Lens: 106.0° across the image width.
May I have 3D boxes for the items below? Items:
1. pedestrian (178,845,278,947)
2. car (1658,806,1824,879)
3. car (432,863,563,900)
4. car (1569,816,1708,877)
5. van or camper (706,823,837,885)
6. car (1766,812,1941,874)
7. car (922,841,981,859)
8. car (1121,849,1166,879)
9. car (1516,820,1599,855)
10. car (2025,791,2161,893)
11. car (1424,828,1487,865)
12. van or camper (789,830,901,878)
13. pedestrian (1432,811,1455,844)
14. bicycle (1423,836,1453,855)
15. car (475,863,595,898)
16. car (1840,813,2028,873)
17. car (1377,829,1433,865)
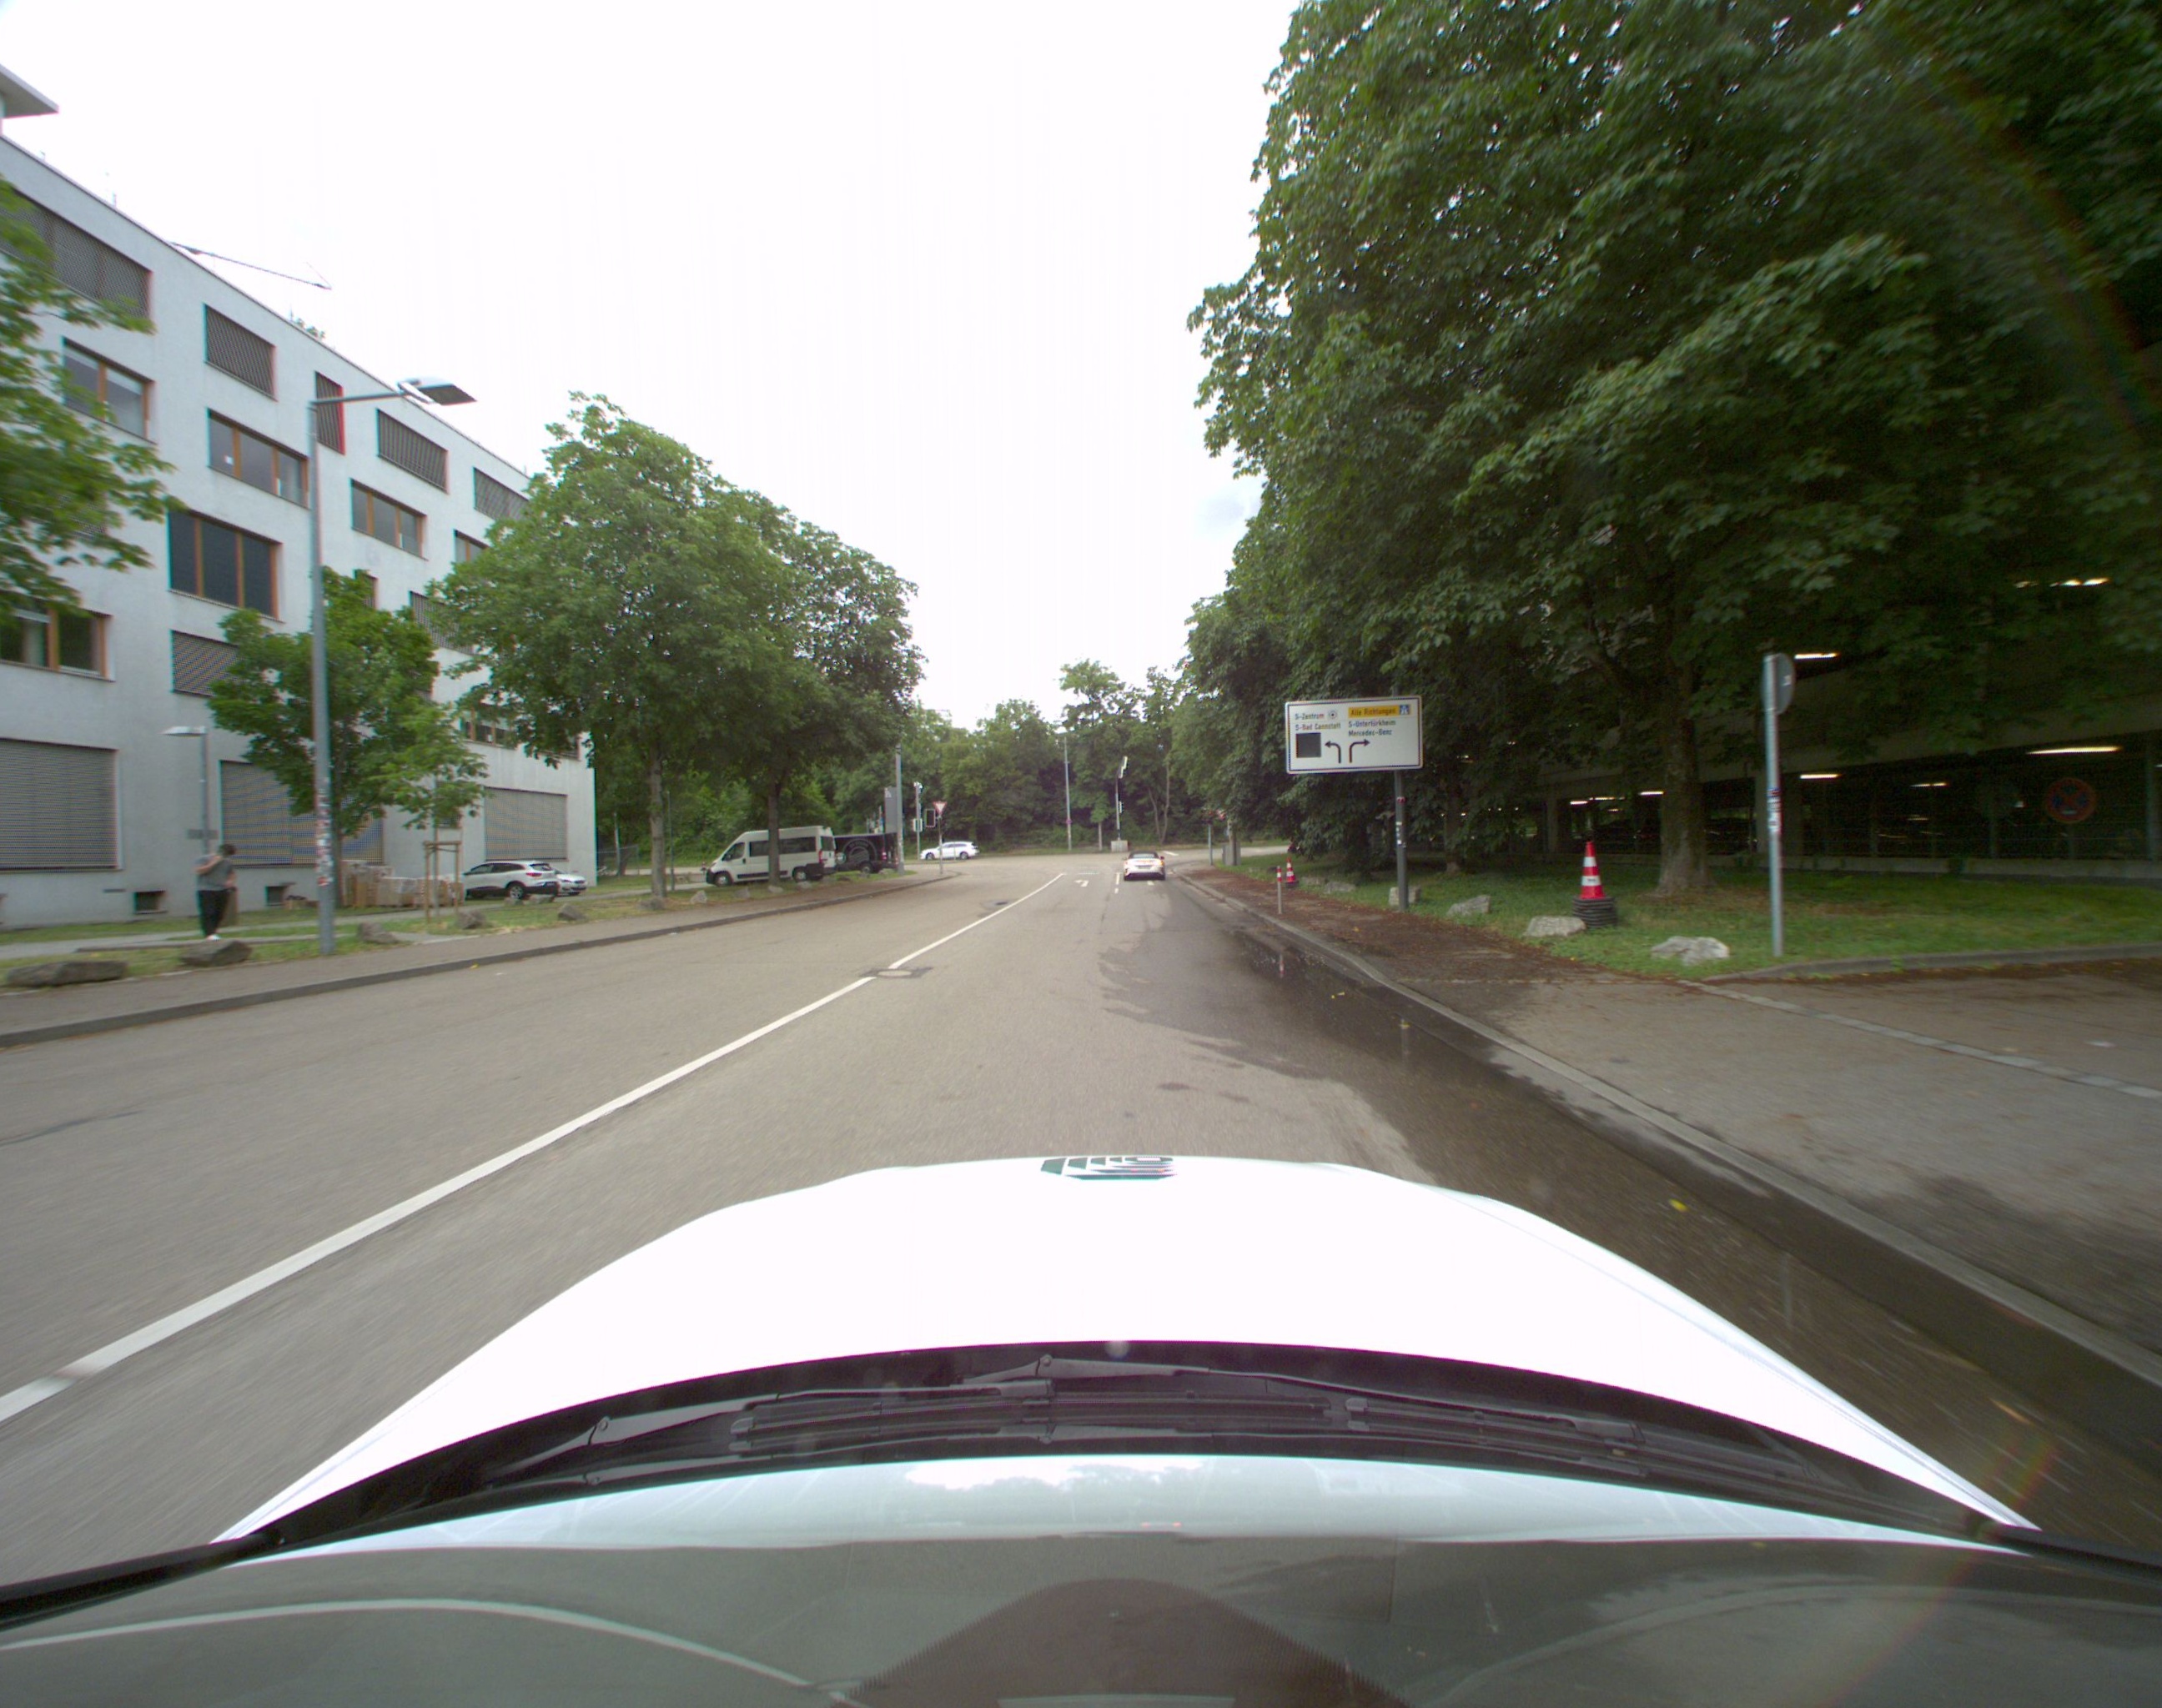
[{"bbox_3d":[-14.417,0.694,13.795,0.841,1.672,0.786,-1,-1,-3],"label":"pedestrian"},{"bbox_3d":[19.966,-0.295,24.883,1.984,2.014,4.004,-1,-1,4],"label":"car"},{"bbox_3d":[-24.082,1.119,33.703,3.987,1.456,1.898,-1,-1,-2],"label":"car"},{"bbox_3d":[20.109,-0.235,29.668,1.985,2.014,4.677,-1,-1,3],"label":"car"},{"bbox_3d":[-13.650,0.018,36.151,4.953,2.570,2.062,-1,-1,0],"label":"van or camper"},{"bbox_3d":[22.766,-0.267,24.209,1.710,1.680,3.703,-1,-1,2],"label":"car"},{"bbox_3d":[-10.865,-0.317,68.622,4.661,1.456,1.898,-1,-1,-2],"label":"car"},{"bbox_3d":[2.841,0.465,37.742,1.821,1.257,4.001,-1,-1,1],"label":"car"},{"bbox_3d":[23.724,-0.784,40.713,1.985,1.552,4.003,-1,-1,3],"label":"car"},{"bbox_3d":[18.964,-0.217,13.792,1.579,1.708,3.860,-1,-1,3],"label":"car"},{"bbox_3d":[18.659,-0.332,40.747,1.573,1.708,3.772,-1,-1,3],"label":"car"},{"bbox_3d":[-13.131,0.019,45.544,5.510,2.313,2.064,-4,-1,4],"label":"van or camper"},{"bbox_3d":[14.748,-1.078,33.151,0.638,1.317,0.637,-1,-1,2],"label":"pedestrian"},{"bbox_3d":[14.421,-0.331,32.955,0.446,0.736,1.493,-1,-1,-5],"label":"bicycle"},{"bbox_3d":[-24.213,1.147,36.217,3.987,1.456,1.898,-1,-1,-2],"label":"car"},{"bbox_3d":[24.981,-0.266,24.063,1.710,1.607,3.703,-1,-1,2],"label":"car"},{"bbox_3d":[16.272,-0.310,41.062,1.474,1.708,3.722,-1,-1,3],"label":"car"}]
